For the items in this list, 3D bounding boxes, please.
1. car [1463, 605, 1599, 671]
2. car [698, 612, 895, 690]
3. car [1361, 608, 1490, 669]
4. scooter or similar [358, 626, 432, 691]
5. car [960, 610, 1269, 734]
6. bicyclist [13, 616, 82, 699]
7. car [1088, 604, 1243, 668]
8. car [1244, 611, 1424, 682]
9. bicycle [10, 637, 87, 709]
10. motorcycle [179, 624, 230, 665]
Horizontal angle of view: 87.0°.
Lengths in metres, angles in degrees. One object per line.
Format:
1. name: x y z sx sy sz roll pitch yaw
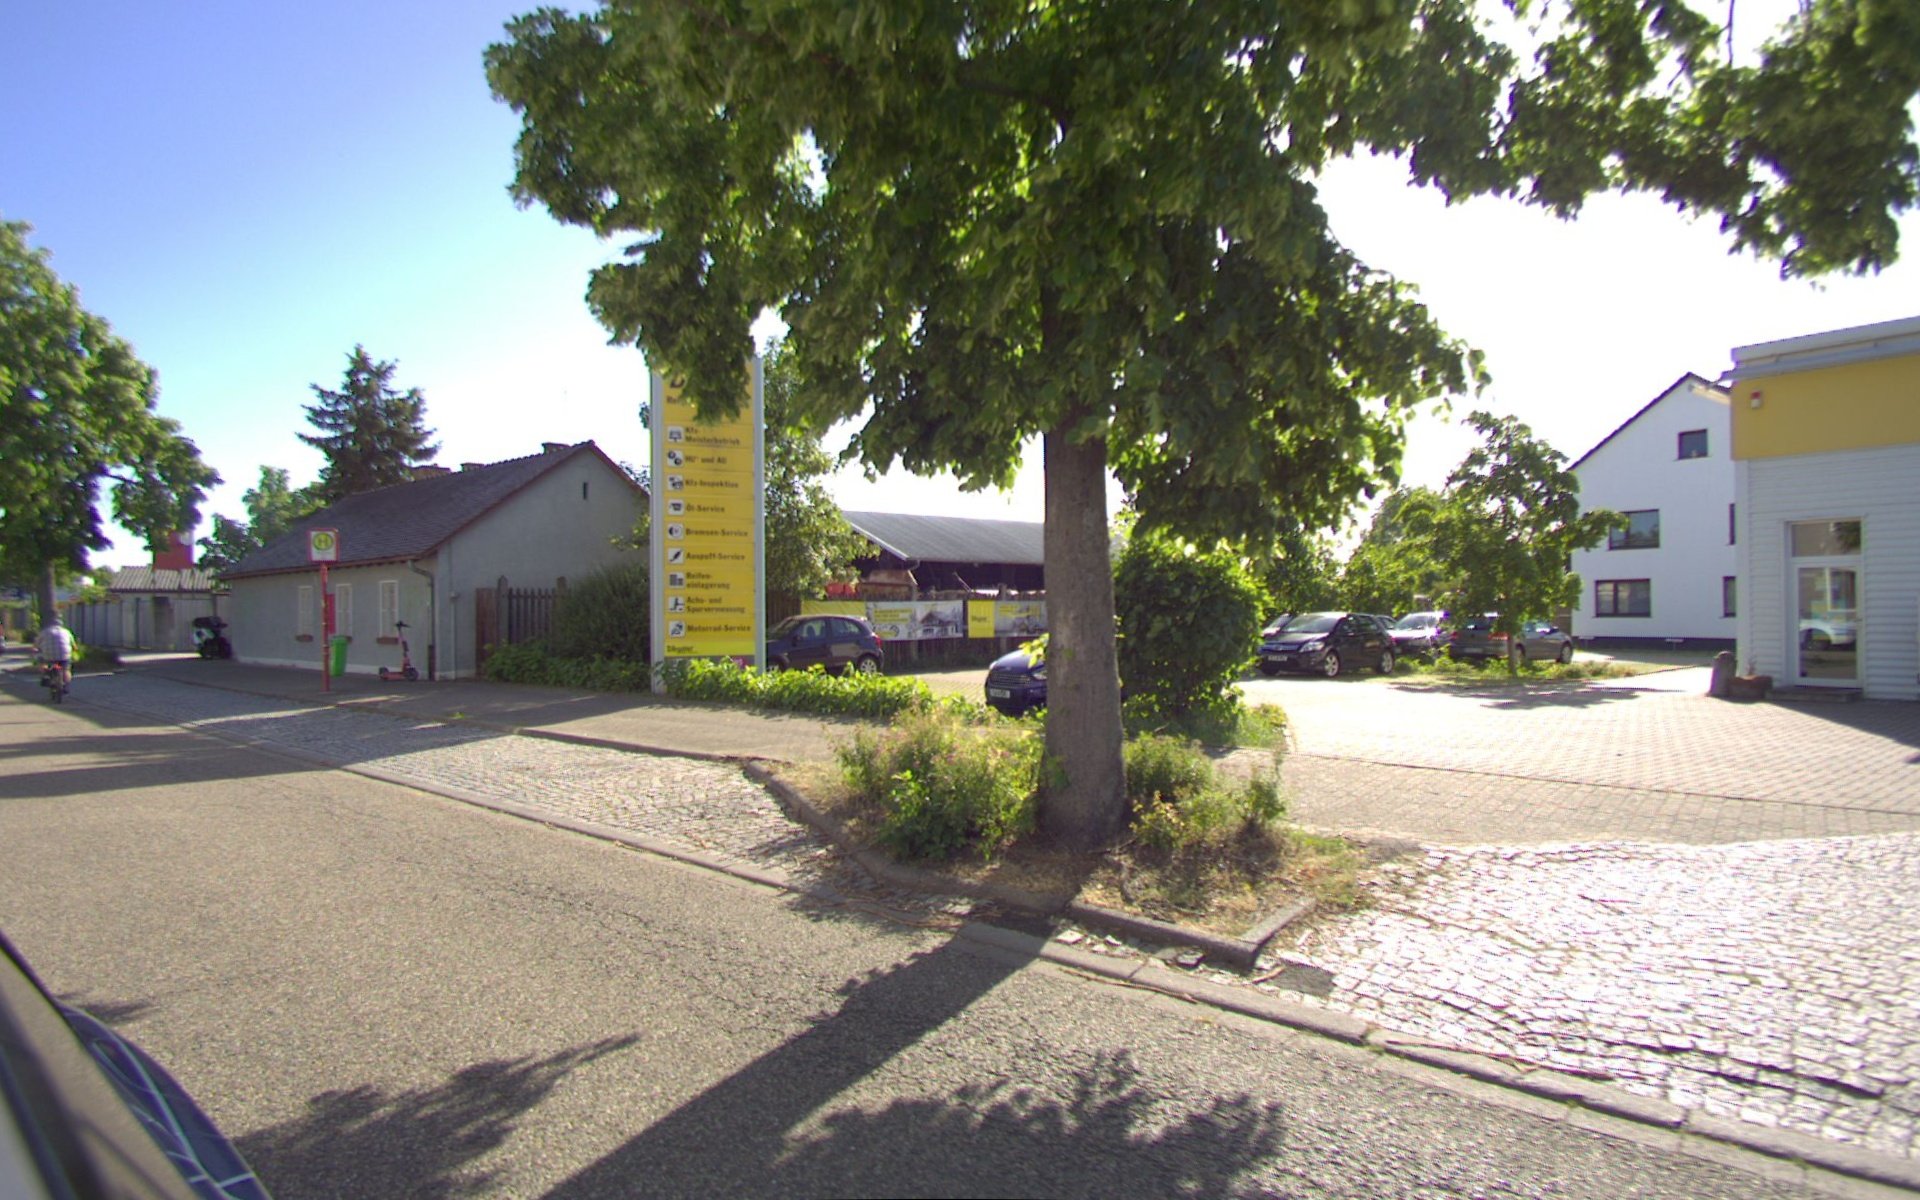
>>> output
1. car: 15.480 0.981 27.372 4.007 1.650 1.778 0 -1 -38
2. car: -3.519 1.052 22.247 4.012 1.527 1.775 0 -1 -44
3. car: 13.701 1.091 29.690 4.007 1.650 1.778 0 -1 -38
4. scooter or similar: -11.612 1.187 20.806 1.568 1.280 0.480 -1 -1 23
5. car: 2.322 0.932 14.774 4.287 1.519 2.005 0 -1 -36
6. bicyclist: -17.782 1.112 19.712 1.137 1.554 0.830 -1 -3 43
7. car: 5.870 0.973 28.684 4.263 1.668 2.004 0 -1 -38
8. car: 8.996 1.040 24.202 4.386 1.519 2.004 0 -1 -38
9. bicycle: -17.619 1.373 19.533 2.604 1.249 0.830 -1 -3 43
10. motorcycle: -24.157 1.404 32.345 2.537 1.242 0.692 -1 1 40
